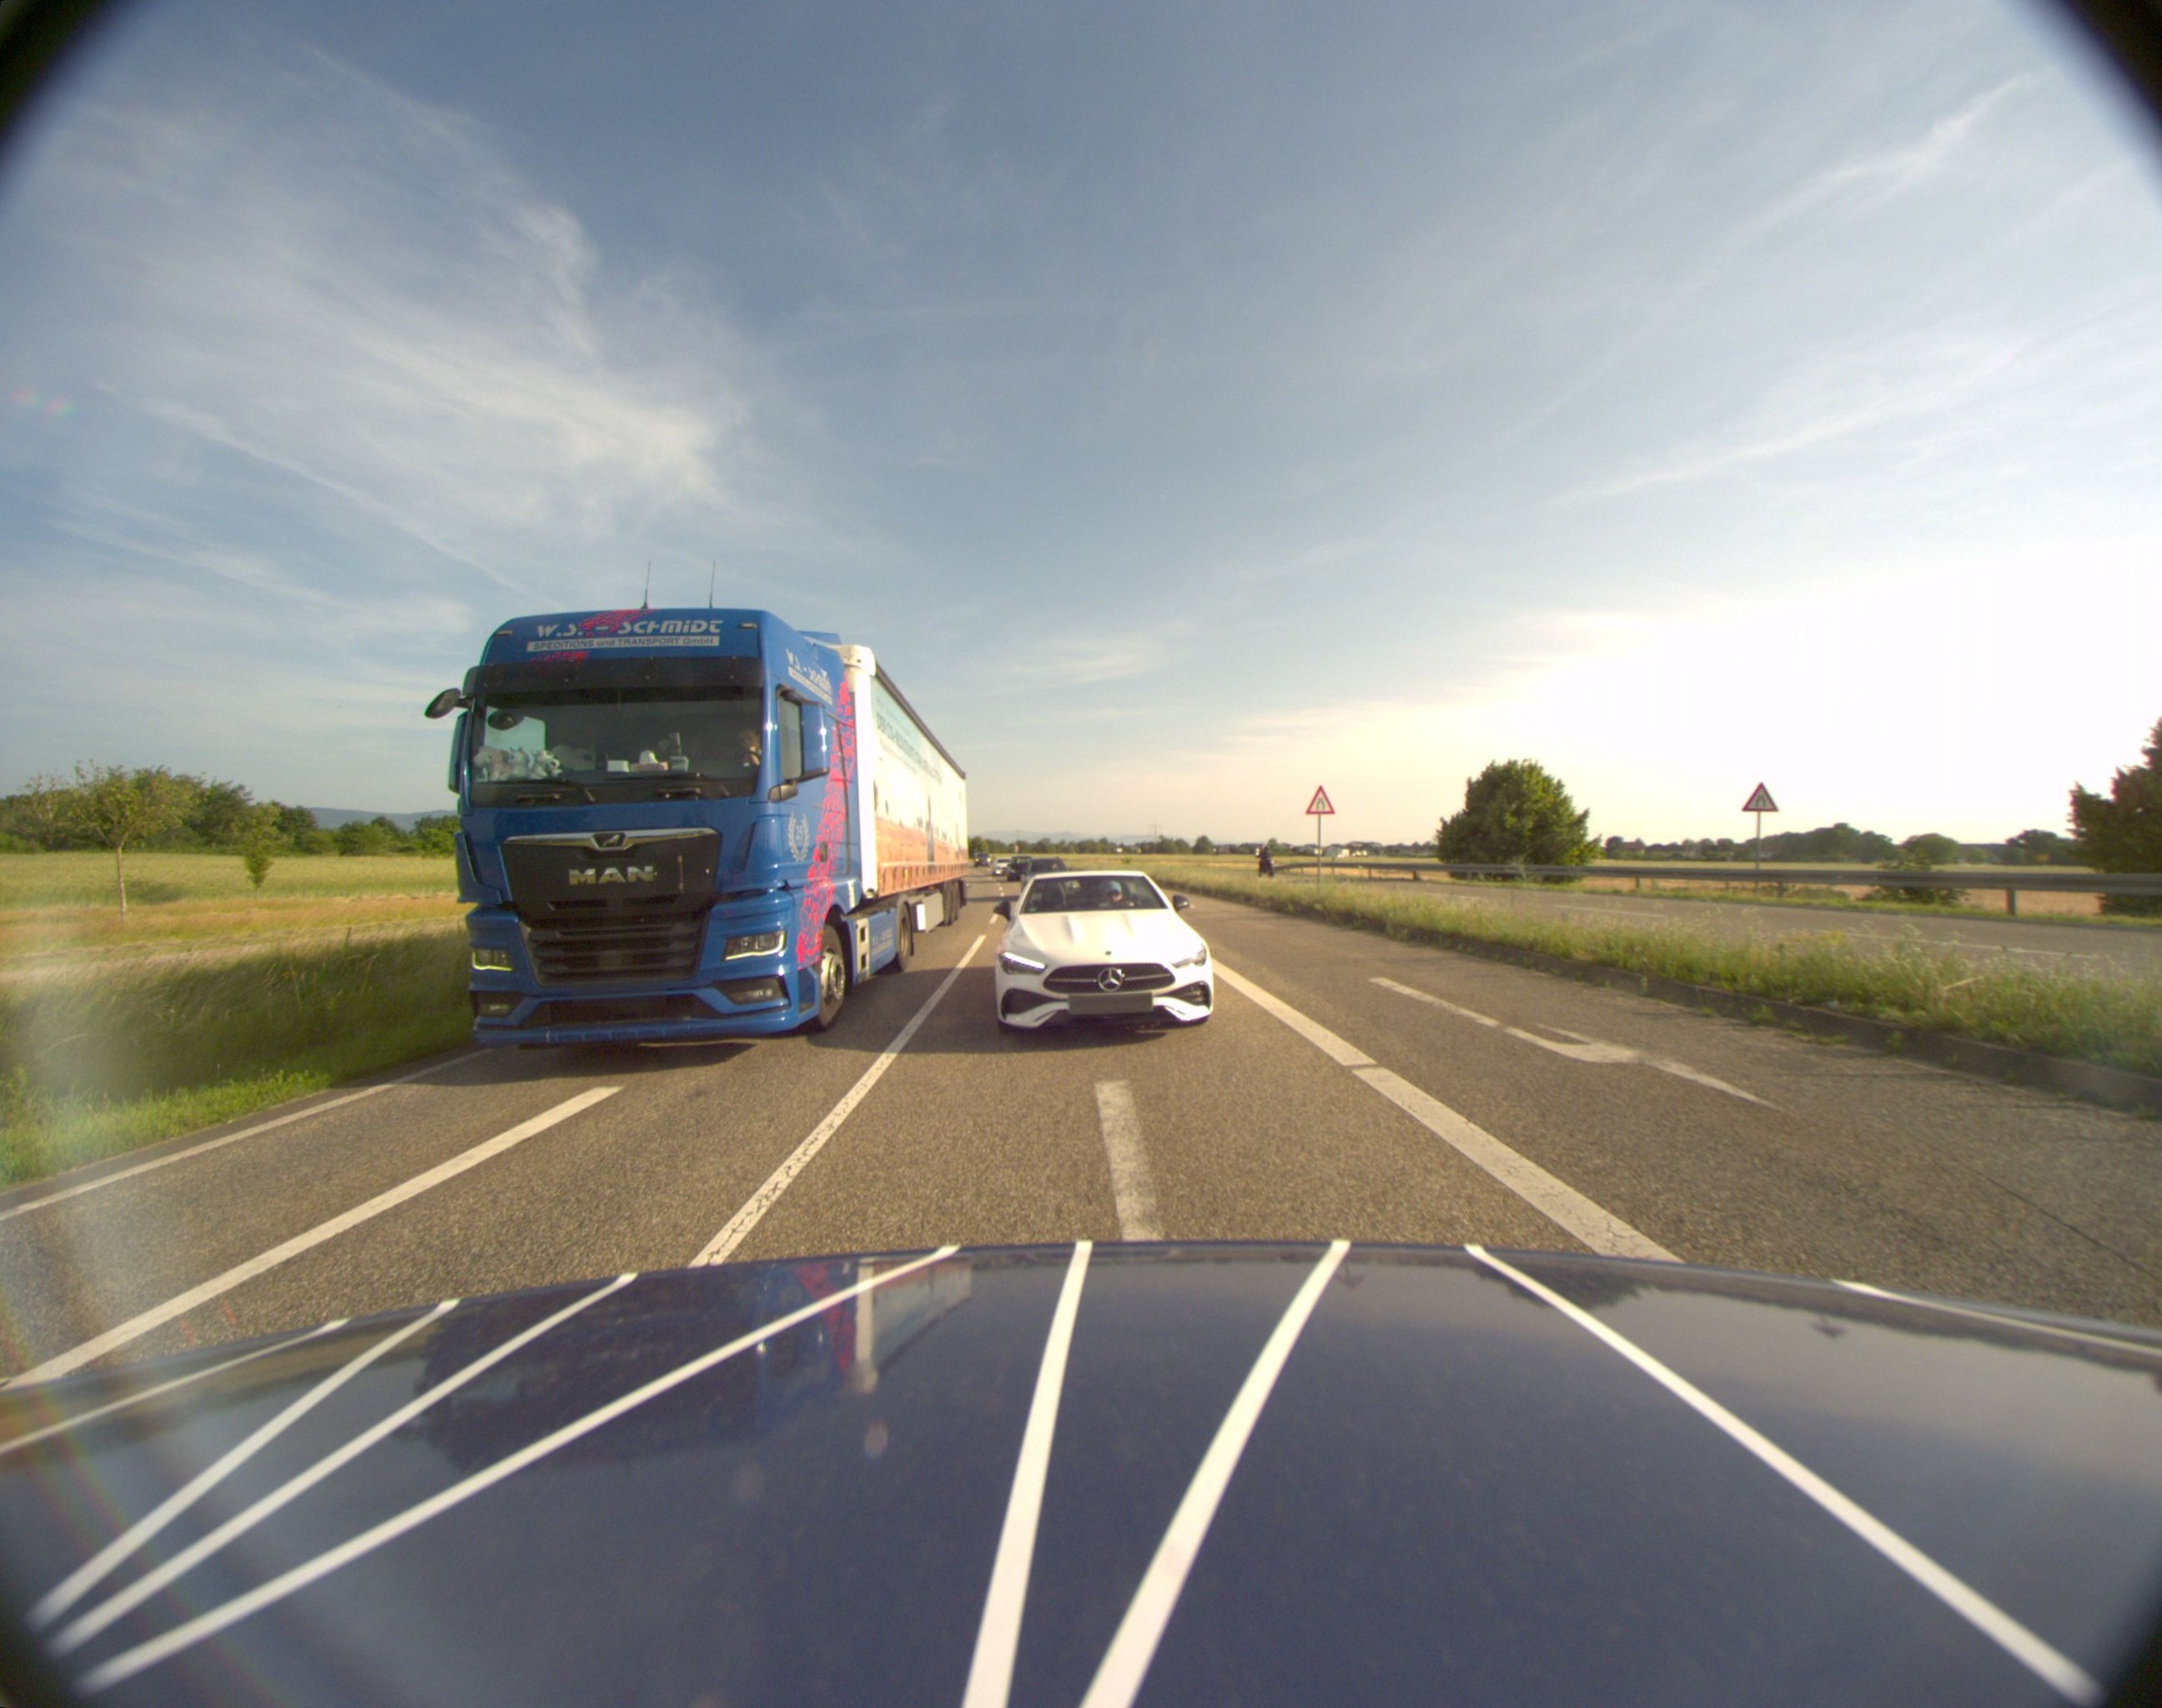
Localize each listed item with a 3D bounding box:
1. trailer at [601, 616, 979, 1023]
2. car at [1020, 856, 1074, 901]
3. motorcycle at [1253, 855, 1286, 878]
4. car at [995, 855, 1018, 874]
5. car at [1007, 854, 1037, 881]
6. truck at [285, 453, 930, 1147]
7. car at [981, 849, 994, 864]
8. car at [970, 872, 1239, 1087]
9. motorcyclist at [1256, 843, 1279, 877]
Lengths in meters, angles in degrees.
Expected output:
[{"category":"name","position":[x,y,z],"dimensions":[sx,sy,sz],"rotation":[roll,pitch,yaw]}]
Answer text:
[{"category":"trailer","position":[-4.226,-0.511,15.410],"dimensions":[3.291,4.654,13.140],"rotation":[-2,1,-4]},{"category":"car","position":[-1.284,0.843,27.686],"dimensions":[1.586,1.496,3.658],"rotation":[-1,0,-8]},{"category":"motorcycle","position":[9.861,0.636,39.846],"dimensions":[0.940,1.118,2.169],"rotation":[-2,0,-5]},{"category":"car","position":[-5.830,0.776,59.173],"dimensions":[1.558,1.392,4.032],"rotation":[-1,0,-8]},{"category":"car","position":[-3.615,0.801,46.110],"dimensions":[1.558,1.550,3.046],"rotation":[-1,0,-8]},{"category":"truck","position":[-3.732,-0.416,8.048],"dimensions":[3.309,4.631,5.729],"rotation":[-2,1,-4]},{"category":"car","position":[-12.355,0.367,99.952],"dimensions":[1.558,1.909,4.032],"rotation":[-1,0,-8]},{"category":"car","position":[0.123,0.973,7.572],"dimensions":[1.941,1.389,3.917],"rotation":[-2,1,-2]},{"category":"motorcyclist","position":[9.816,0.301,39.962],"dimensions":[0.906,1.748,0.831],"rotation":[-2,1,-6]}]
